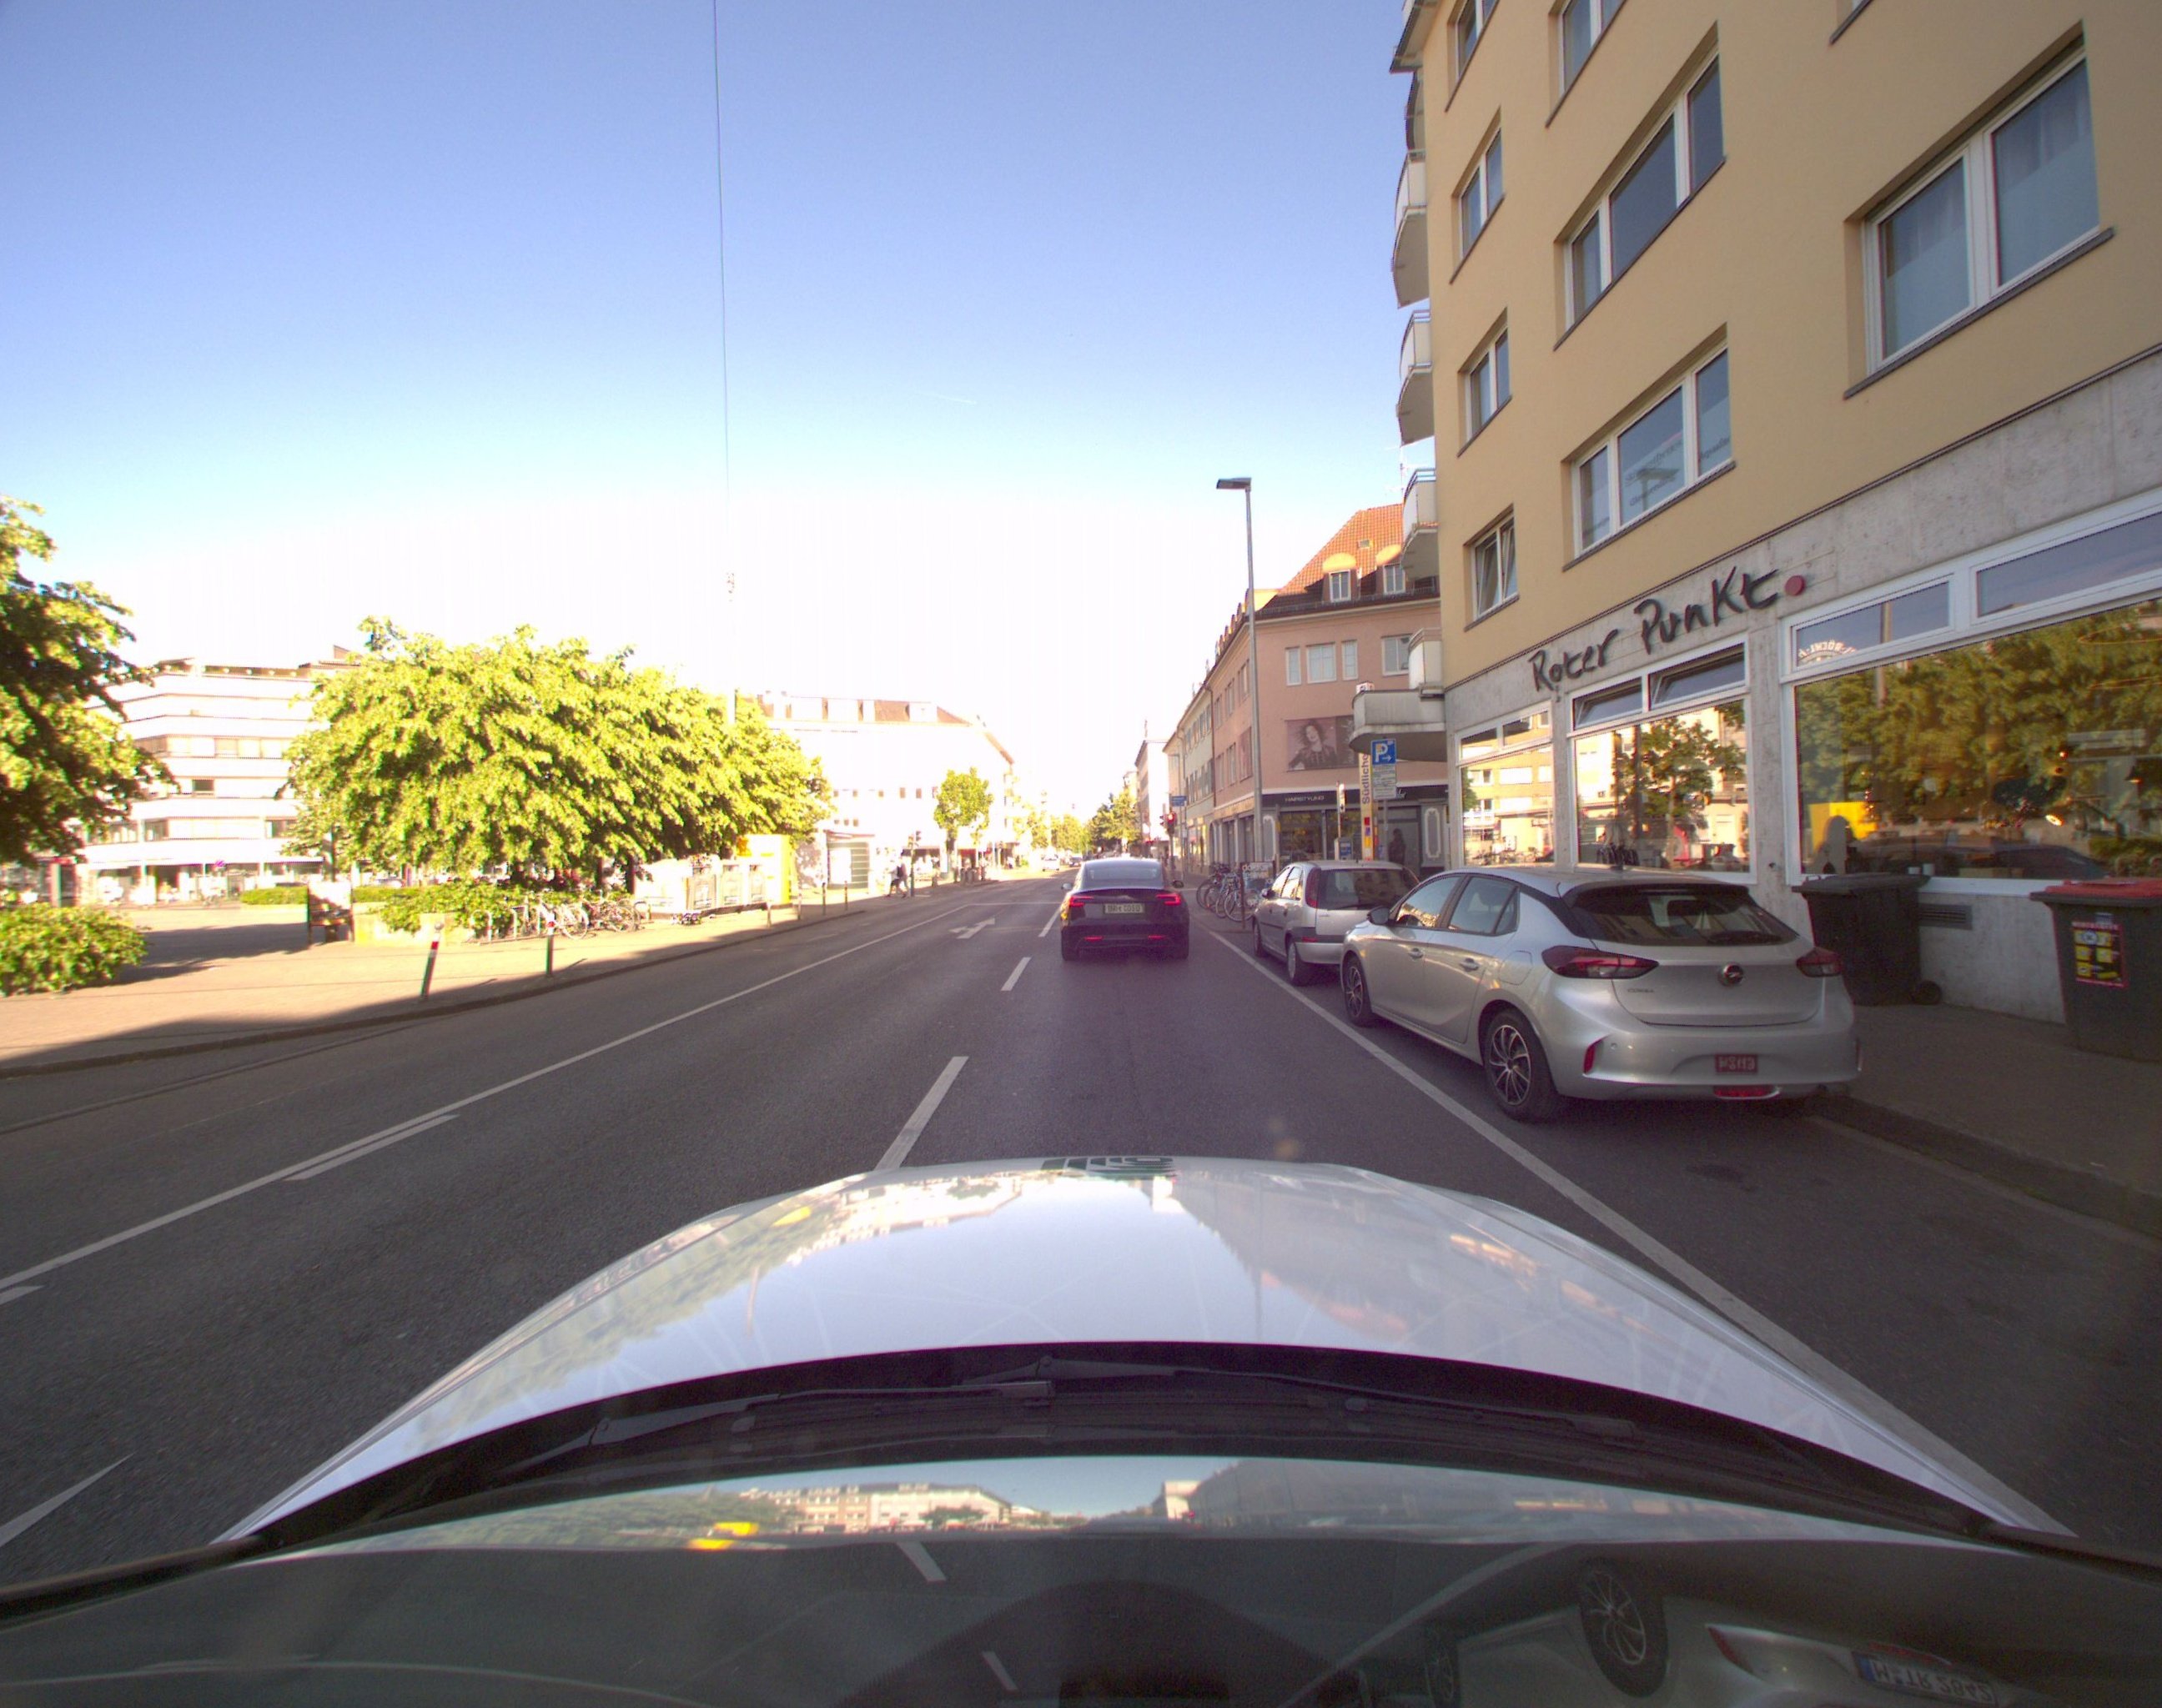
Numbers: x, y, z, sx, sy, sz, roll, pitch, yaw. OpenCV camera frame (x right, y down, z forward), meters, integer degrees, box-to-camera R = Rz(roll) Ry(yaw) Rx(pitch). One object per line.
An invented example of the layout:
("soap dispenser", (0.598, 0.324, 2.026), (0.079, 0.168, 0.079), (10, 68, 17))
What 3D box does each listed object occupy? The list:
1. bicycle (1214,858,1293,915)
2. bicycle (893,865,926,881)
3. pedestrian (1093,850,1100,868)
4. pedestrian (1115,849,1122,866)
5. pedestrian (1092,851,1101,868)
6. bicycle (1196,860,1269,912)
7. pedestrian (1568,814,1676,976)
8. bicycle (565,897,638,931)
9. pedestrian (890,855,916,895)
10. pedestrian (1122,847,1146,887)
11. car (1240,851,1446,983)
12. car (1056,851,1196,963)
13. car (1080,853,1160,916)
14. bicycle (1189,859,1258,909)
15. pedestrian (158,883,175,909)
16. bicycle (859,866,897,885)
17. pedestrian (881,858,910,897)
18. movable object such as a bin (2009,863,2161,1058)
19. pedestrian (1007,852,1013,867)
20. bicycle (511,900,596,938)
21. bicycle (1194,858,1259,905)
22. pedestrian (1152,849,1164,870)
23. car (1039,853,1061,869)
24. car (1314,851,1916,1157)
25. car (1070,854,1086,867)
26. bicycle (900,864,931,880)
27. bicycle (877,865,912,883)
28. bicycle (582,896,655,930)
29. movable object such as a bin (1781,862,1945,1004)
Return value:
("bicycle", (3.846, 0.724, 18.221), (1.622, 1.160, 0.433), (-3, 0, 0))
("bicycle", (-12.107, 1.347, 57.480), (2.074, 1.104, 0.806), (-1, 0, 1))
("pedestrian", (1.799, 0.545, 93.782), (0.621, 2.013, 0.562), (-1, 0, 21))
("pedestrian", (4.261, 0.395, 93.255), (0.620, 2.013, 0.562), (-1, 0, 26))
("pedestrian", (1.882, 0.677, 96.386), (0.754, 2.013, 0.792), (-1, 0, -24))
("bicycle", (3.632, 0.767, 19.576), (1.622, 1.160, 0.433), (-3, 0, 0))
("pedestrian", (5.764, 0.429, 8.715), (0.659, 1.633, 0.629), (-4, -1, 6))
("bicycle", (-11.069, 1.384, 18.817), (1.465, 0.769, 0.442), (-1, -1, 6))
("pedestrian", (-7.859, 0.916, 35.952), (0.897, 1.725, 0.745), (-1, 0, 5))
("pedestrian", (1.961, 0.481, 30.089), (0.737, 1.440, 0.585), (-1, -1, 17))
("car", (3.205, 0.682, 10.730), (1.615, 1.394, 3.889), (-1, 0, 3))
("car", (0.692, 0.710, 12.735), (1.842, 1.455, 3.789), (-1, 0, 3))
("car", (1.013, 0.724, 21.055), (1.842, 1.455, 3.789), (-1, 0, 3))
("bicycle", (3.605, 0.748, 20.634), (1.622, 1.160, 0.433), (-3, 0, 0))
("pedestrian", (-64.931, 2.983, 57.824), (0.576, 1.792, 0.604), (-1, -1, 19))
("bicycle", (-12.500, 1.327, 50.190), (2.074, 1.104, 0.806), (-1, 0, 1))
("pedestrian", (-8.010, 0.999, 35.198), (0.981, 1.636, 0.738), (-1, 0, 5))
("movable object such as a bin", (6.468, 0.621, 5.026), (0.700, 1.067, 0.620), (-4, 0, 1))
("pedestrian", (-9.164, 0.690, 105.469), (0.623, 2.013, 0.575), (-1, 0, 1))
("bicycle", (-11.281, 1.392, 17.433), (1.645, 0.769, 0.476), (-1, -1, 10))
("bicycle", (3.884, 0.730, 21.803), (1.621, 1.160, 0.433), (-3, 0, 2))
("pedestrian", (6.890, 0.506, 73.181), (0.995, 1.850, 0.615), (-1, 0, 1))
("car", (-3.386, 0.748, 89.889), (1.986, 1.541, 4.002), (-5, 0, 2))
("car", (3.165, 0.720, 5.957), (1.665, 1.427, 4.075), (-1, 0, -1))
("car", (-0.380, 0.830, 109.935), (2.044, 1.727, 4.652), (-1, 0, -1))
("bicycle", (-12.143, 1.314, 59.677), (2.074, 1.104, 0.806), (-1, 0, 1))
("bicycle", (-12.075, 1.314, 52.701), (2.074, 1.104, 0.806), (-1, 0, 1))
("bicycle", (-10.996, 1.395, 19.375), (1.466, 0.769, 0.475), (-1, -1, 4))
("movable object such as a bin", (6.491, 0.633, 6.790), (0.700, 1.067, 0.620), (-4, 0, 1))
